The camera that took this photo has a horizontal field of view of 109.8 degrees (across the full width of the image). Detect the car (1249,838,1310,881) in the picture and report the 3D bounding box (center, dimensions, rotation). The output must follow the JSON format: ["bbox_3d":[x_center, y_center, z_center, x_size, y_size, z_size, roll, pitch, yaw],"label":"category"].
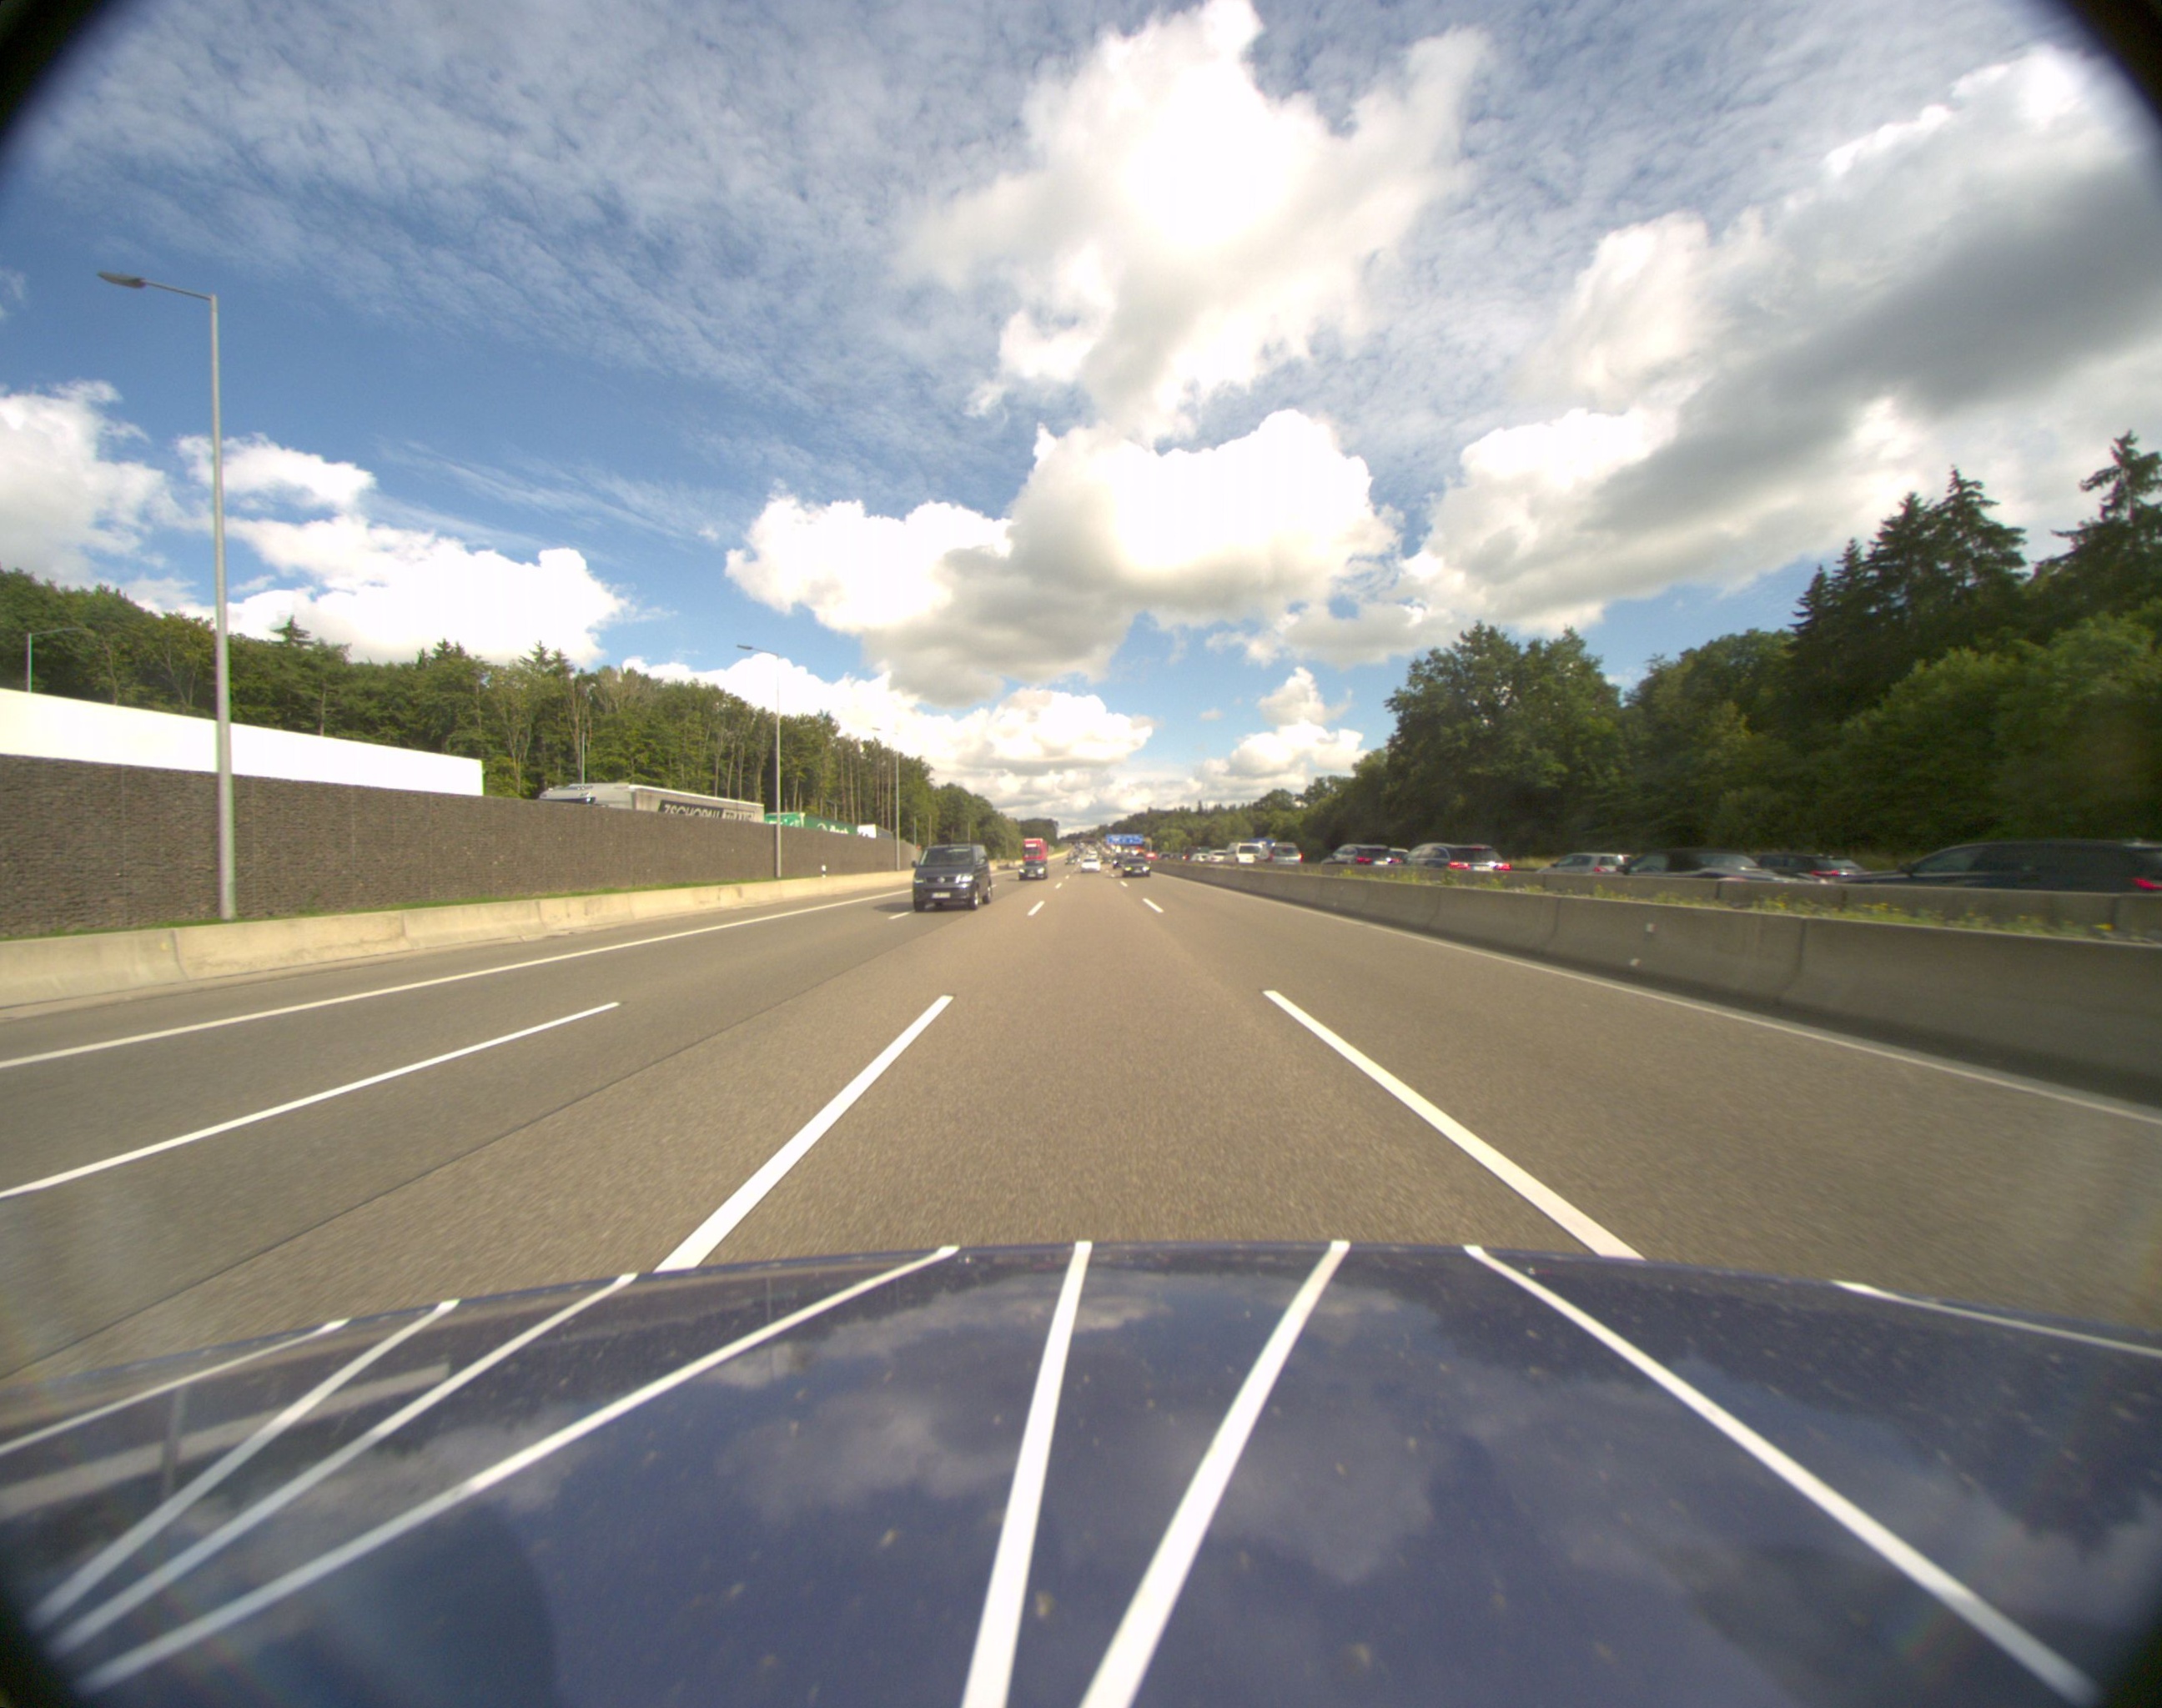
[{"bbox_3d":[10.362,0.202,40.077,1.998,2.002,4.675,-2,2,1],"label":"car"}]

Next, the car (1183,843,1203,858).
[{"bbox_3d":[15.294,-0.476,103.840,1.998,2.020,5.846,-2,0,2],"label":"car"}]

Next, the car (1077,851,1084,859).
[{"bbox_3d":[-0.054,0.293,206.031,1.804,1.865,3.950,-1,1,1],"label":"car"}]

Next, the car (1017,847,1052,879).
[{"bbox_3d":[-3.219,0.613,53.262,1.998,2.002,4.000,-4,1,2],"label":"car"}]

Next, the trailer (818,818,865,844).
[{"bbox_3d":[-20.358,-1.972,64.865,1.998,2.002,6.190,-2,2,0],"label":"trailer"}]

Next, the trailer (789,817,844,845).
[{"bbox_3d":[-20.411,-1.787,58.995,1.998,2.002,5.774,-2,2,2],"label":"trailer"}]

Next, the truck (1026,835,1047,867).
[{"bbox_3d":[-6.058,-0.418,103.869,2.532,4.179,4.652,-2,2,1],"label":"truck"}]

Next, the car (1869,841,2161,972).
[{"bbox_3d":[13.846,0.612,10.494,1.845,1.565,4.000,-1,0,2],"label":"car"}]

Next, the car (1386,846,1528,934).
[{"bbox_3d":[10.144,0.874,20.851,1.998,2.002,3.999,-2,2,2],"label":"car"}]

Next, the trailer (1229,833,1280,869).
[{"bbox_3d":[14.638,-0.276,64.738,2.284,2.770,8.540,-2,1,0],"label":"trailer"}]

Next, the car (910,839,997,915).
[{"bbox_3d":[-3.942,0.634,24.384,1.927,2.153,4.960,-1,1,0],"label":"car"}]

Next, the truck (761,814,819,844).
[{"bbox_3d":[-20.517,-1.775,53.751,2.050,2.002,4.779,-2,2,2],"label":"truck"}]

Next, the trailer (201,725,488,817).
[{"bbox_3d":[-20.915,-2.237,22.191,2.135,2.002,6.321,-1,0,0],"label":"trailer"}]

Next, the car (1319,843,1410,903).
[{"bbox_3d":[11.083,0.664,30.087,1.998,2.002,4.546,-2,2,2],"label":"car"}]

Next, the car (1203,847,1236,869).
[{"bbox_3d":[10.504,0.293,57.721,1.770,1.563,4.357,-2,0,2],"label":"car"}]

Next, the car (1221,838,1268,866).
[{"bbox_3d":[10.554,-0.138,49.560,1.998,1.563,5.329,-4,0,2],"label":"car"}]

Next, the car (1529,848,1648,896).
[{"bbox_3d":[18.419,0.598,27.811,1.760,1.447,3.999,-2,2,1],"label":"car"}]

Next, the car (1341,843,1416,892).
[{"bbox_3d":[13.715,0.572,35.330,1.998,2.002,3.999,-2,2,2],"label":"car"}]

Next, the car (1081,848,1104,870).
[{"bbox_3d":[1.112,0.463,71.095,1.998,2.002,4.000,-1,0,2],"label":"car"}]

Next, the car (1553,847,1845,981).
[{"bbox_3d":[10.181,0.854,12.995,1.823,1.784,3.999,-2,2,2],"label":"car"}]

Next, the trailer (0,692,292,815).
[{"bbox_3d":[-20.938,-1.979,15.978,2.135,2.002,6.234,-1,0,0],"label":"trailer"}]

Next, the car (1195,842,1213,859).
[{"bbox_3d":[18.914,-0.545,117.419,1.998,2.360,5.329,-2,0,2],"label":"car"}]

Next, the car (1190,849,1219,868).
[{"bbox_3d":[11.104,0.387,68.769,1.998,1.563,4.357,-2,0,2],"label":"car"}]

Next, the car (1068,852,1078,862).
[{"bbox_3d":[-1.546,0.604,146.932,1.911,1.582,4.285,-2,2,-2],"label":"car"}]

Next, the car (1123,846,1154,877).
[{"bbox_3d":[3.992,0.469,53.075,1.919,2.002,4.000,-2,1,2],"label":"car"}]

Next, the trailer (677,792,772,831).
[{"bbox_3d":[-20.430,-2.389,43.959,2.056,2.002,6.961,-2,2,1],"label":"trailer"}]

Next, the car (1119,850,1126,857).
[{"bbox_3d":[12.336,-0.233,227.817,1.691,1.806,4.294,-2,2,0],"label":"car"}]

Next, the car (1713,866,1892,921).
[{"bbox_3d":[21.830,1.141,23.241,1.760,1.446,4.000,-1,0,1],"label":"car"}]

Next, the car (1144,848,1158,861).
[{"bbox_3d":[10.700,0.077,116.145,1.862,1.753,4.458,-2,1,2],"label":"car"}]

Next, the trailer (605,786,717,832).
[{"bbox_3d":[-20.474,-2.162,37.470,2.050,2.002,6.004,-2,2,1],"label":"trailer"}]

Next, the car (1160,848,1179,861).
[{"bbox_3d":[11.491,0.053,99.260,1.998,1.563,5.207,-2,0,2],"label":"car"}]

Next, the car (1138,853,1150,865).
[{"bbox_3d":[11.639,0.949,140.381,1.821,2.002,4.451,-2,2,2],"label":"car"}]

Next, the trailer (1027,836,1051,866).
[{"bbox_3d":[-5.985,-0.603,110.823,2.531,4.096,14.373,-1,2,1],"label":"trailer"}]

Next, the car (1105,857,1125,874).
[{"bbox_3d":[3.716,1.207,83.324,1.911,1.582,4.286,-2,2,1],"label":"car"}]

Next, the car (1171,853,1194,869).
[{"bbox_3d":[10.593,0.696,79.490,1.998,1.563,3.511,-2,0,2],"label":"car"}]

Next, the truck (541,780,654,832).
[{"bbox_3d":[-20.504,-1.986,32.457,2.050,2.002,4.095,-2,2,0],"label":"truck"}]

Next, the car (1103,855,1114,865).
[{"bbox_3d":[5.109,1.167,141.971,1.804,1.783,3.757,-1,1,1],"label":"car"}]
